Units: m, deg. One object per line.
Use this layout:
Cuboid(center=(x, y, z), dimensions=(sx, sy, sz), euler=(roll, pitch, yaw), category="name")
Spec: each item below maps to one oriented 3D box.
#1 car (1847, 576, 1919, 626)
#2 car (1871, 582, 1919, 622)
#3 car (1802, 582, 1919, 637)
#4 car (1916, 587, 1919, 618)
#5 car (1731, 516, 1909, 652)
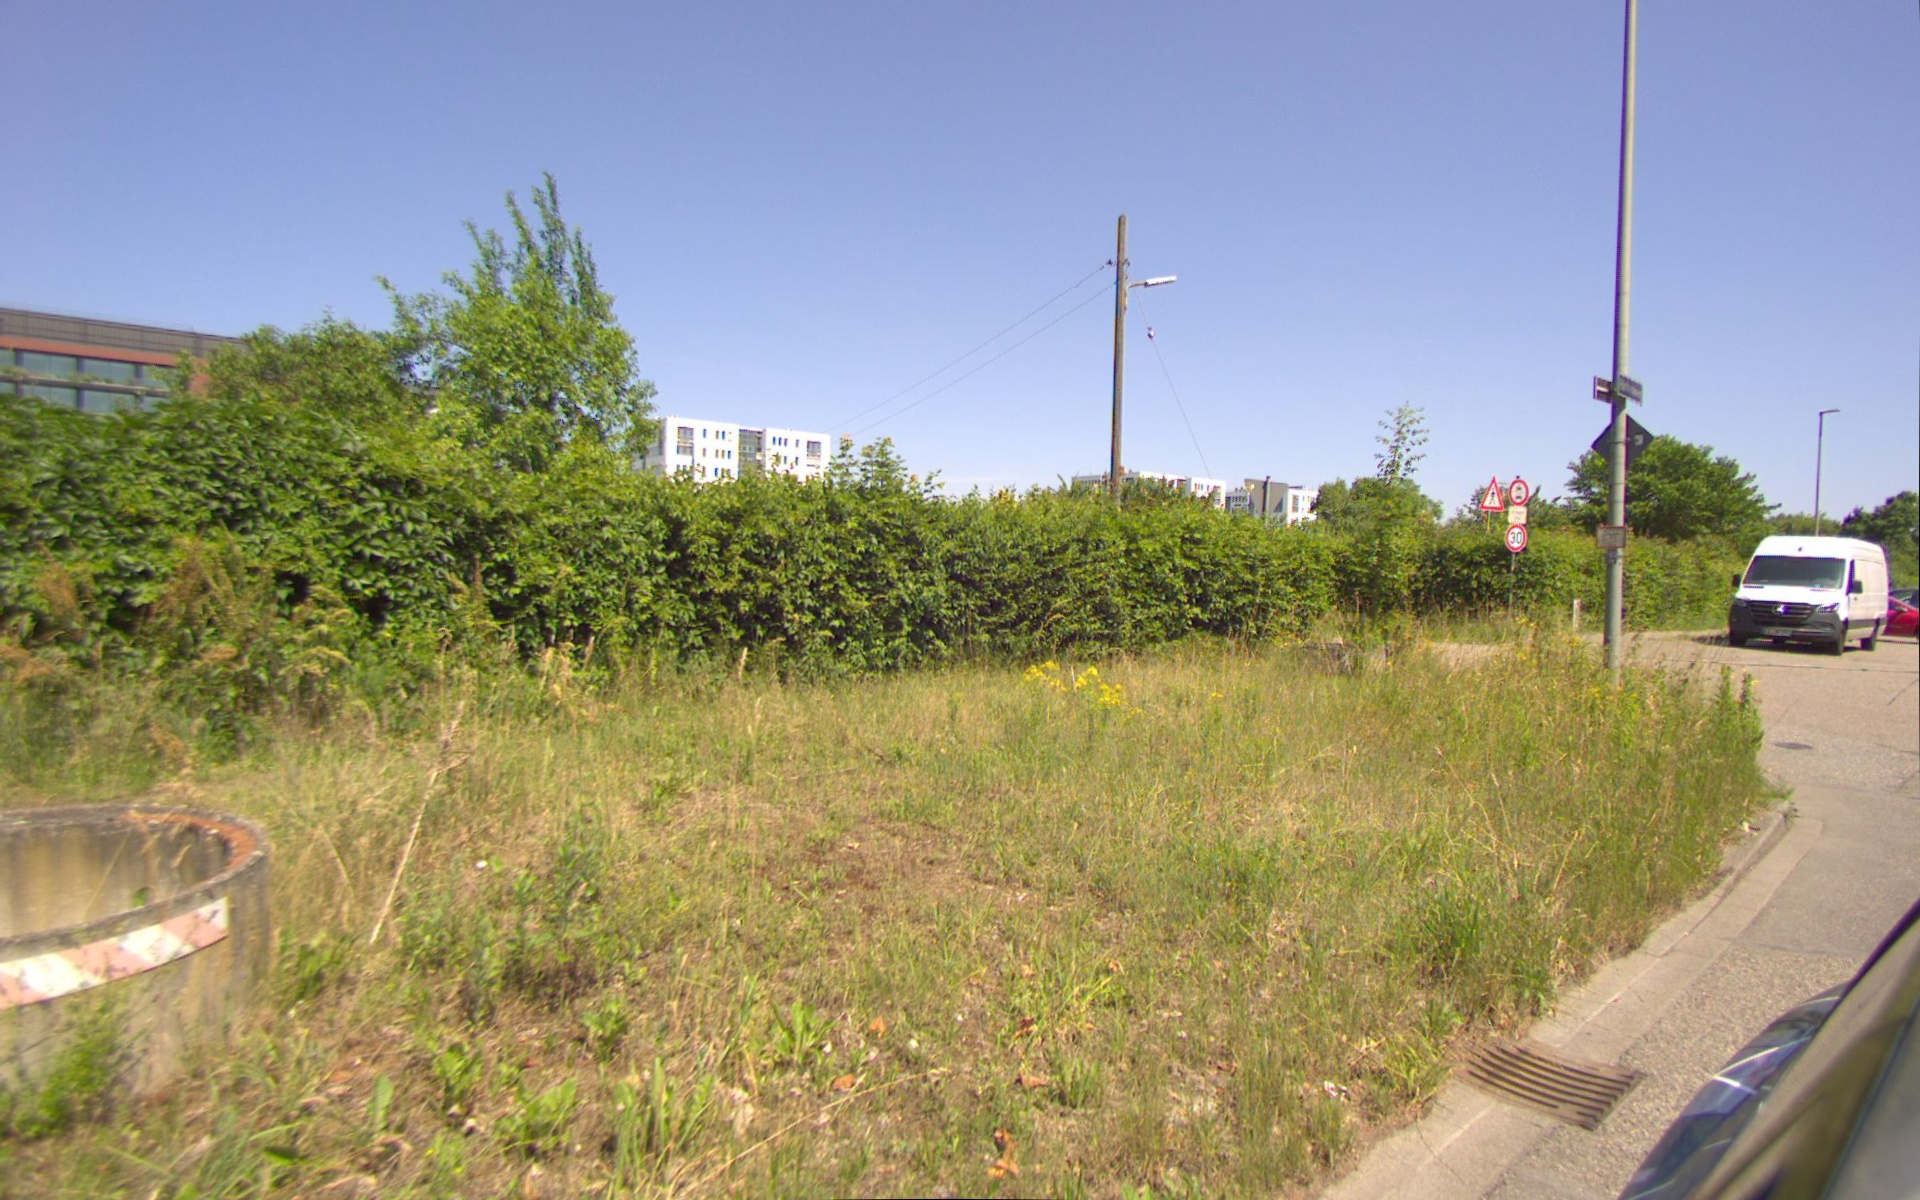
Cuboid(center=(37.624, 0.099, 39.419), dimensions=(1.921, 1.826, 4.457), euler=(-1, 5, -45), category="car")
Cuboid(center=(42.164, 0.177, 43.472), dimensions=(1.735, 1.597, 4.283), euler=(0, 4, -43), category="car")
Cuboid(center=(28.424, 0.315, 30.799), dimensions=(1.805, 1.451, 4.060), euler=(0, 4, -44), category="car")
Cuboid(center=(49.270, 0.230, 49.469), dimensions=(1.559, 1.522, 3.398), euler=(1, 3, -38), category="car")
Cuboid(center=(20.385, -0.373, 23.829), dimensions=(7.040, 2.766, 1.959), euler=(0, 4, -41), category="car")
